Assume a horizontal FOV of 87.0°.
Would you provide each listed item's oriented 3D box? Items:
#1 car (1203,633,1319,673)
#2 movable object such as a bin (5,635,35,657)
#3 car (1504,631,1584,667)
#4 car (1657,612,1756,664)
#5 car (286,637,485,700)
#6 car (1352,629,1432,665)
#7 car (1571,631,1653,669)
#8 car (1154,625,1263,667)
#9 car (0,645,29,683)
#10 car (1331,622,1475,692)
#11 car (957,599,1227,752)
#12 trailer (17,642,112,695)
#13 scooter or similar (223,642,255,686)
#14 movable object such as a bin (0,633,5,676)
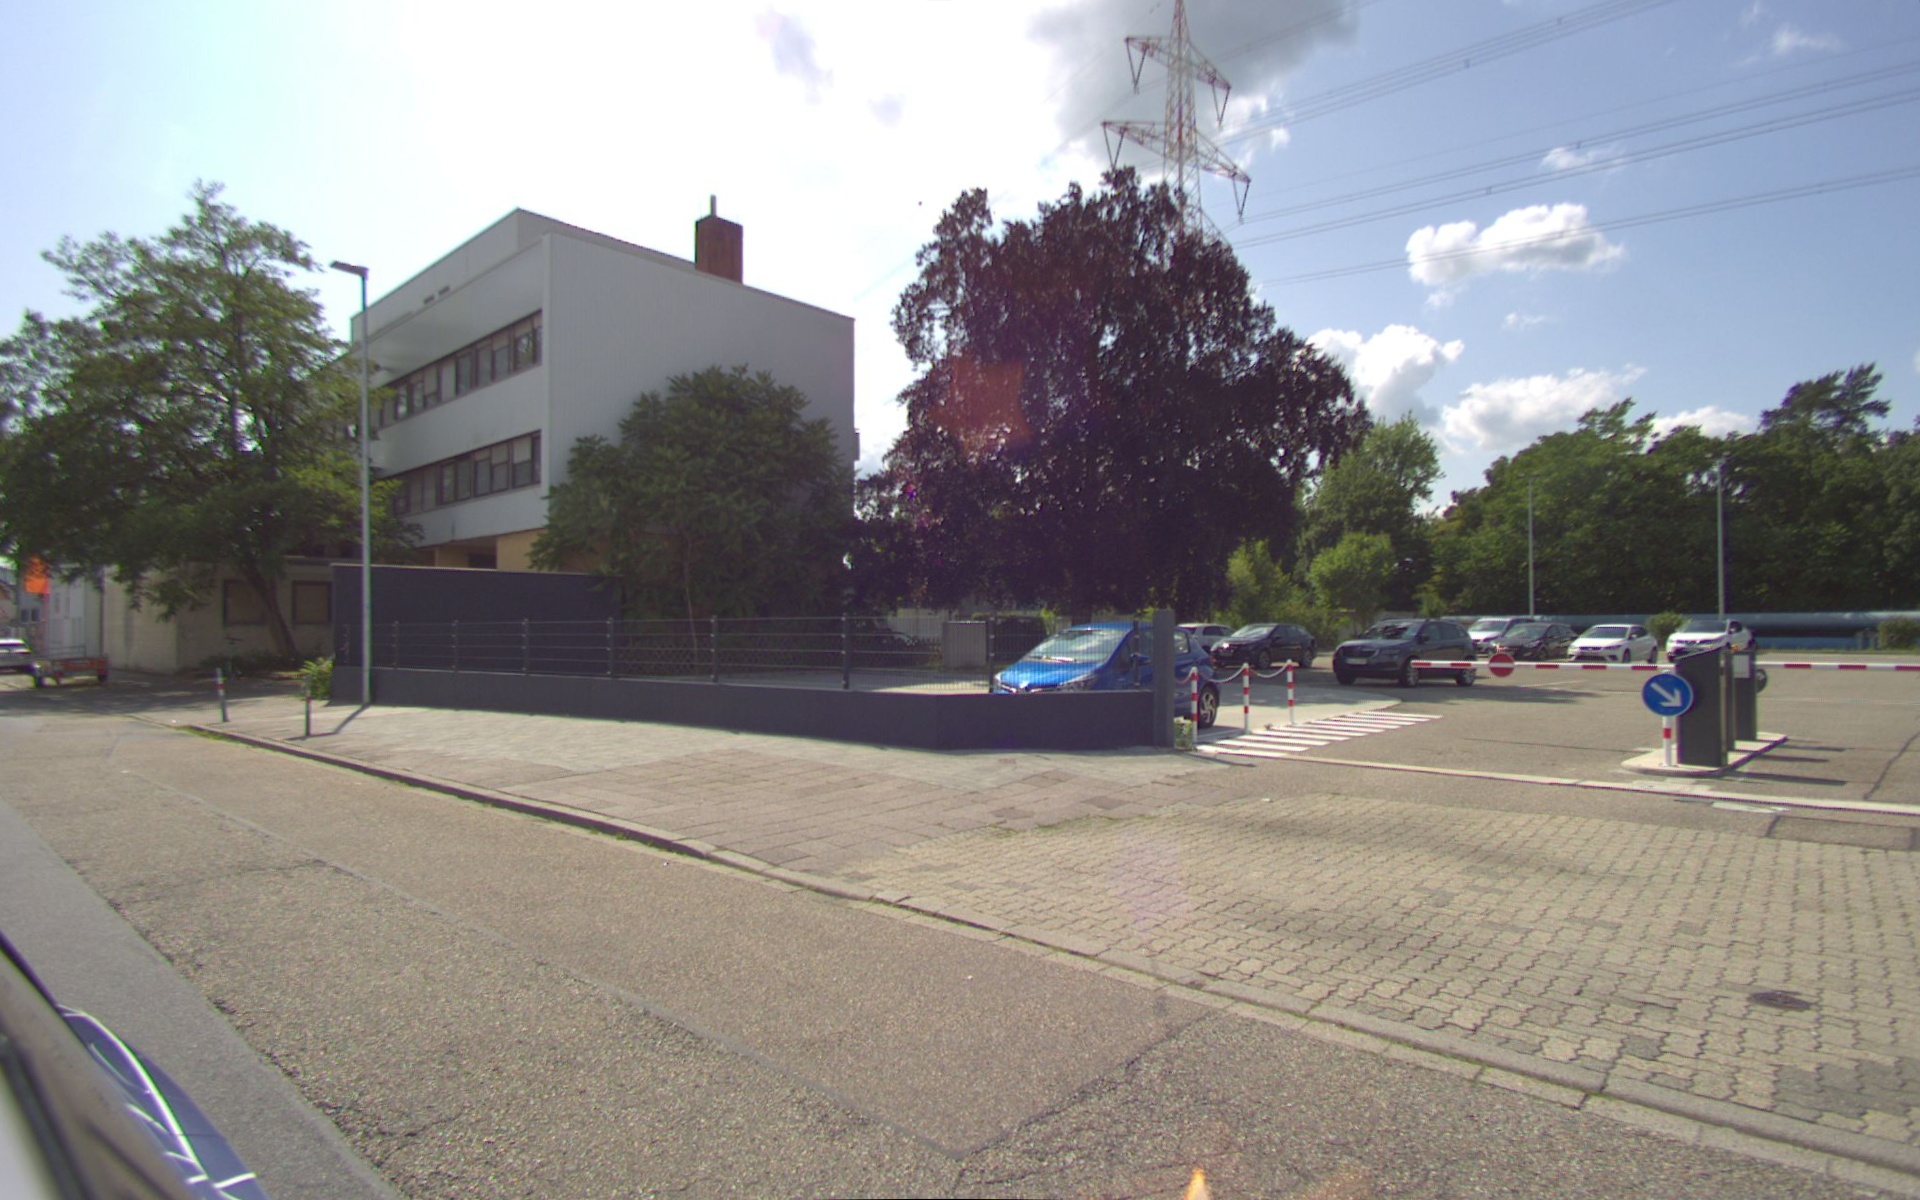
[{"bbox_3d":[9.912,1.711,33.194,4.149,1.236,1.831,2,-3,-44],"label":"car"},{"bbox_3d":[-64.198,3.141,69.142,1.149,1.438,1.304,-2,-3,36],"label":"movable object such as a bin"},{"bbox_3d":[21.211,1.744,36.724,3.273,1.240,1.682,2,-3,-44],"label":"car"},{"bbox_3d":[27.268,1.386,36.951,3.720,1.798,1.992,1,-3,-39],"label":"car"},{"bbox_3d":[-14.152,1.633,25.068,1.795,1.372,3.947,-2,-2,44],"label":"car"},{"bbox_3d":[17.511,1.867,40.958,1.645,1.374,3.942,-3,-3,44],"label":"car"},{"bbox_3d":[22.618,1.717,35.090,3.273,1.240,1.682,2,-3,-44],"label":"car"},{"bbox_3d":[8.886,1.621,36.022,4.231,1.419,1.831,2,-3,-44],"label":"car"},{"bbox_3d":[-40.652,2.674,42.624,4.512,1.466,1.655,-2,0,42],"label":"car"},{"bbox_3d":[10.622,1.310,24.140,4.149,1.513,1.682,2,-3,-44],"label":"car"},{"bbox_3d":[1.848,0.908,13.406,1.878,1.721,3.610,-2,-2,41],"label":"car"},{"bbox_3d":[-28.563,2.120,32.239,4.334,1.450,1.748,-2,1,42],"label":"trailer"},{"bbox_3d":[-21.843,1.925,30.654,1.360,1.288,0.477,-2,0,42],"label":"scooter or similar"},{"bbox_3d":[-45.452,2.562,46.595,5.135,1.933,1.597,-2,1,41],"label":"movable object such as a bin"}]
